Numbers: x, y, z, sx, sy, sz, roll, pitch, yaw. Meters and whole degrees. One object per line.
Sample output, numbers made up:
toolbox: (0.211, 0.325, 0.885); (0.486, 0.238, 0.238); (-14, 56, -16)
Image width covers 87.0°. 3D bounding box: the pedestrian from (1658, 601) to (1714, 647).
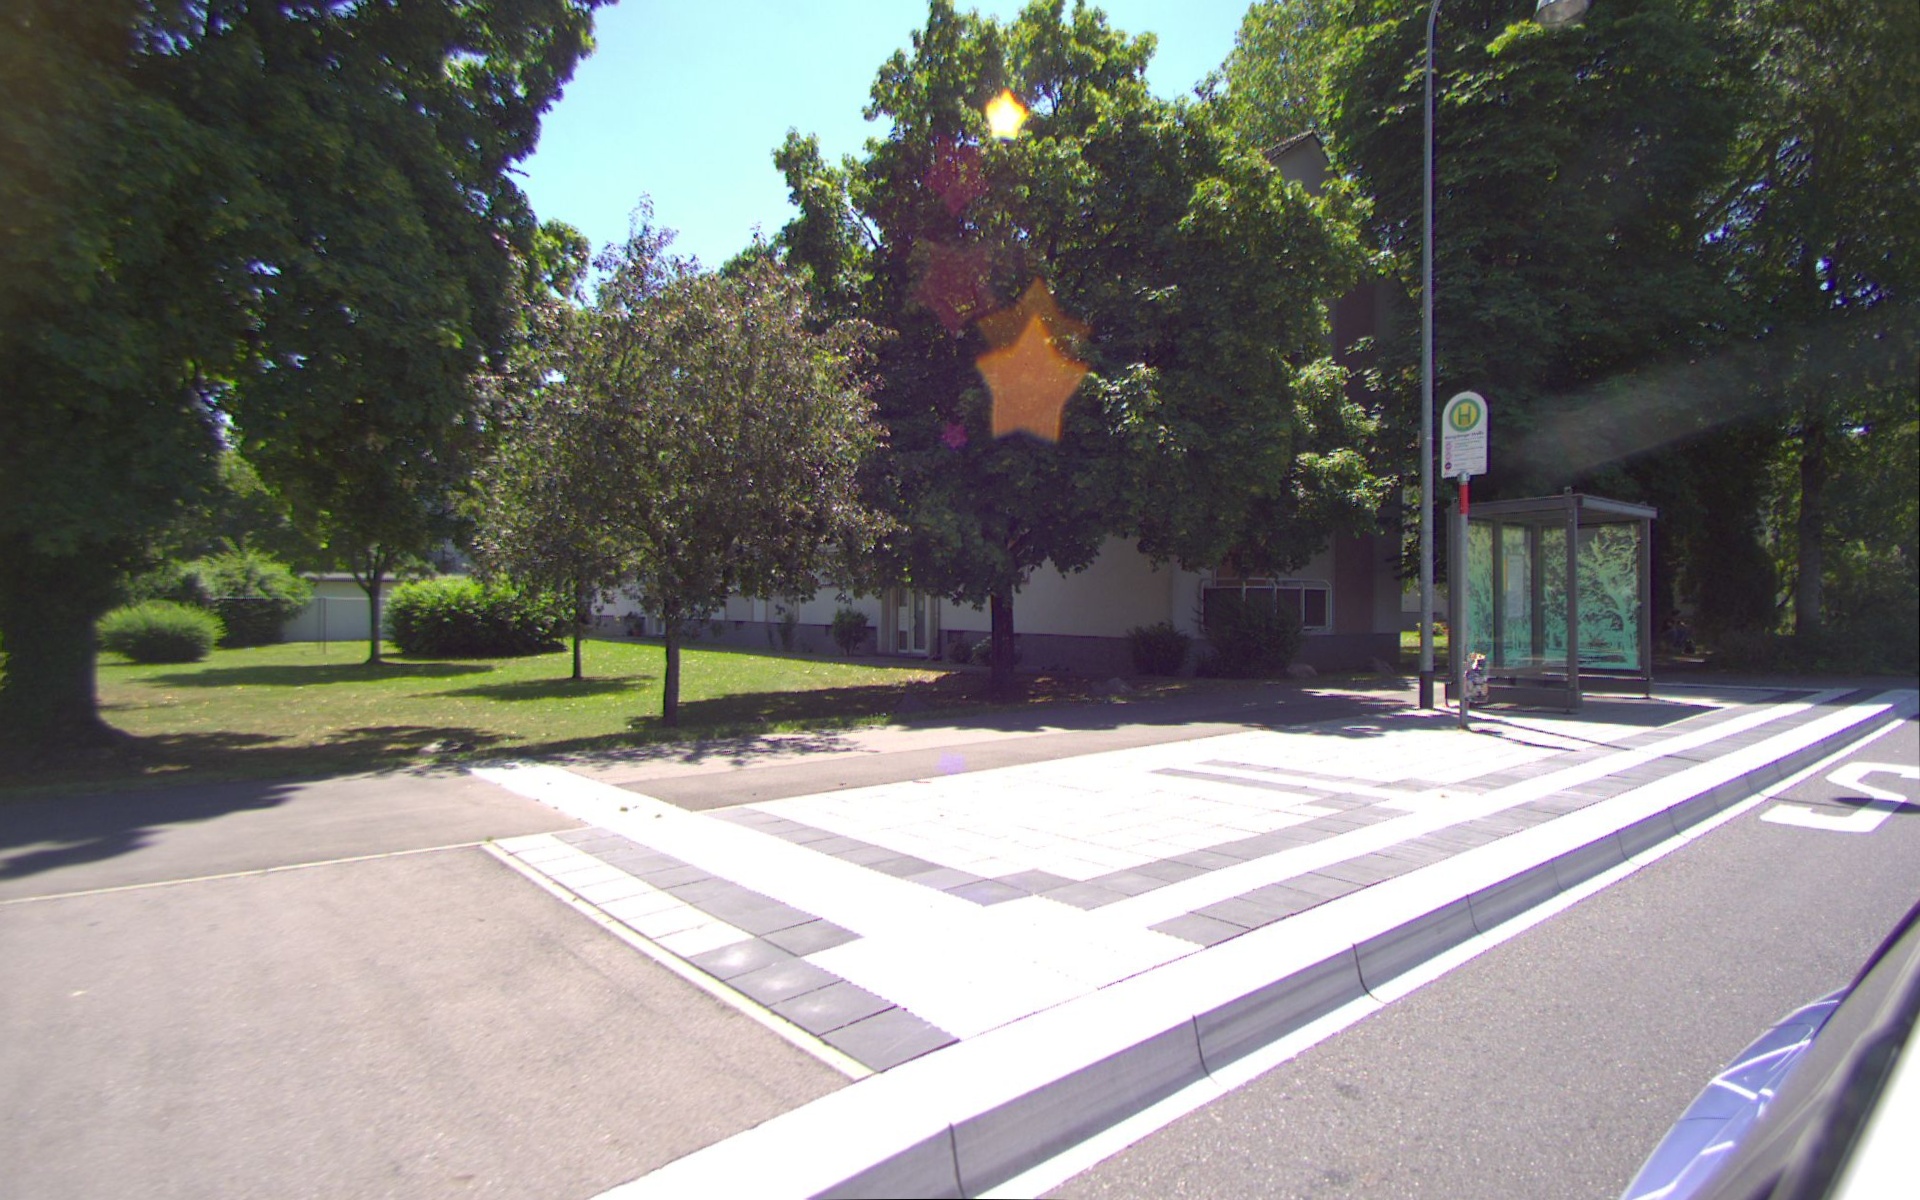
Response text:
pedestrian: (21.126, 0.676, 29.452); (1.047, 1.309, 0.943); (0, 0, -26)
